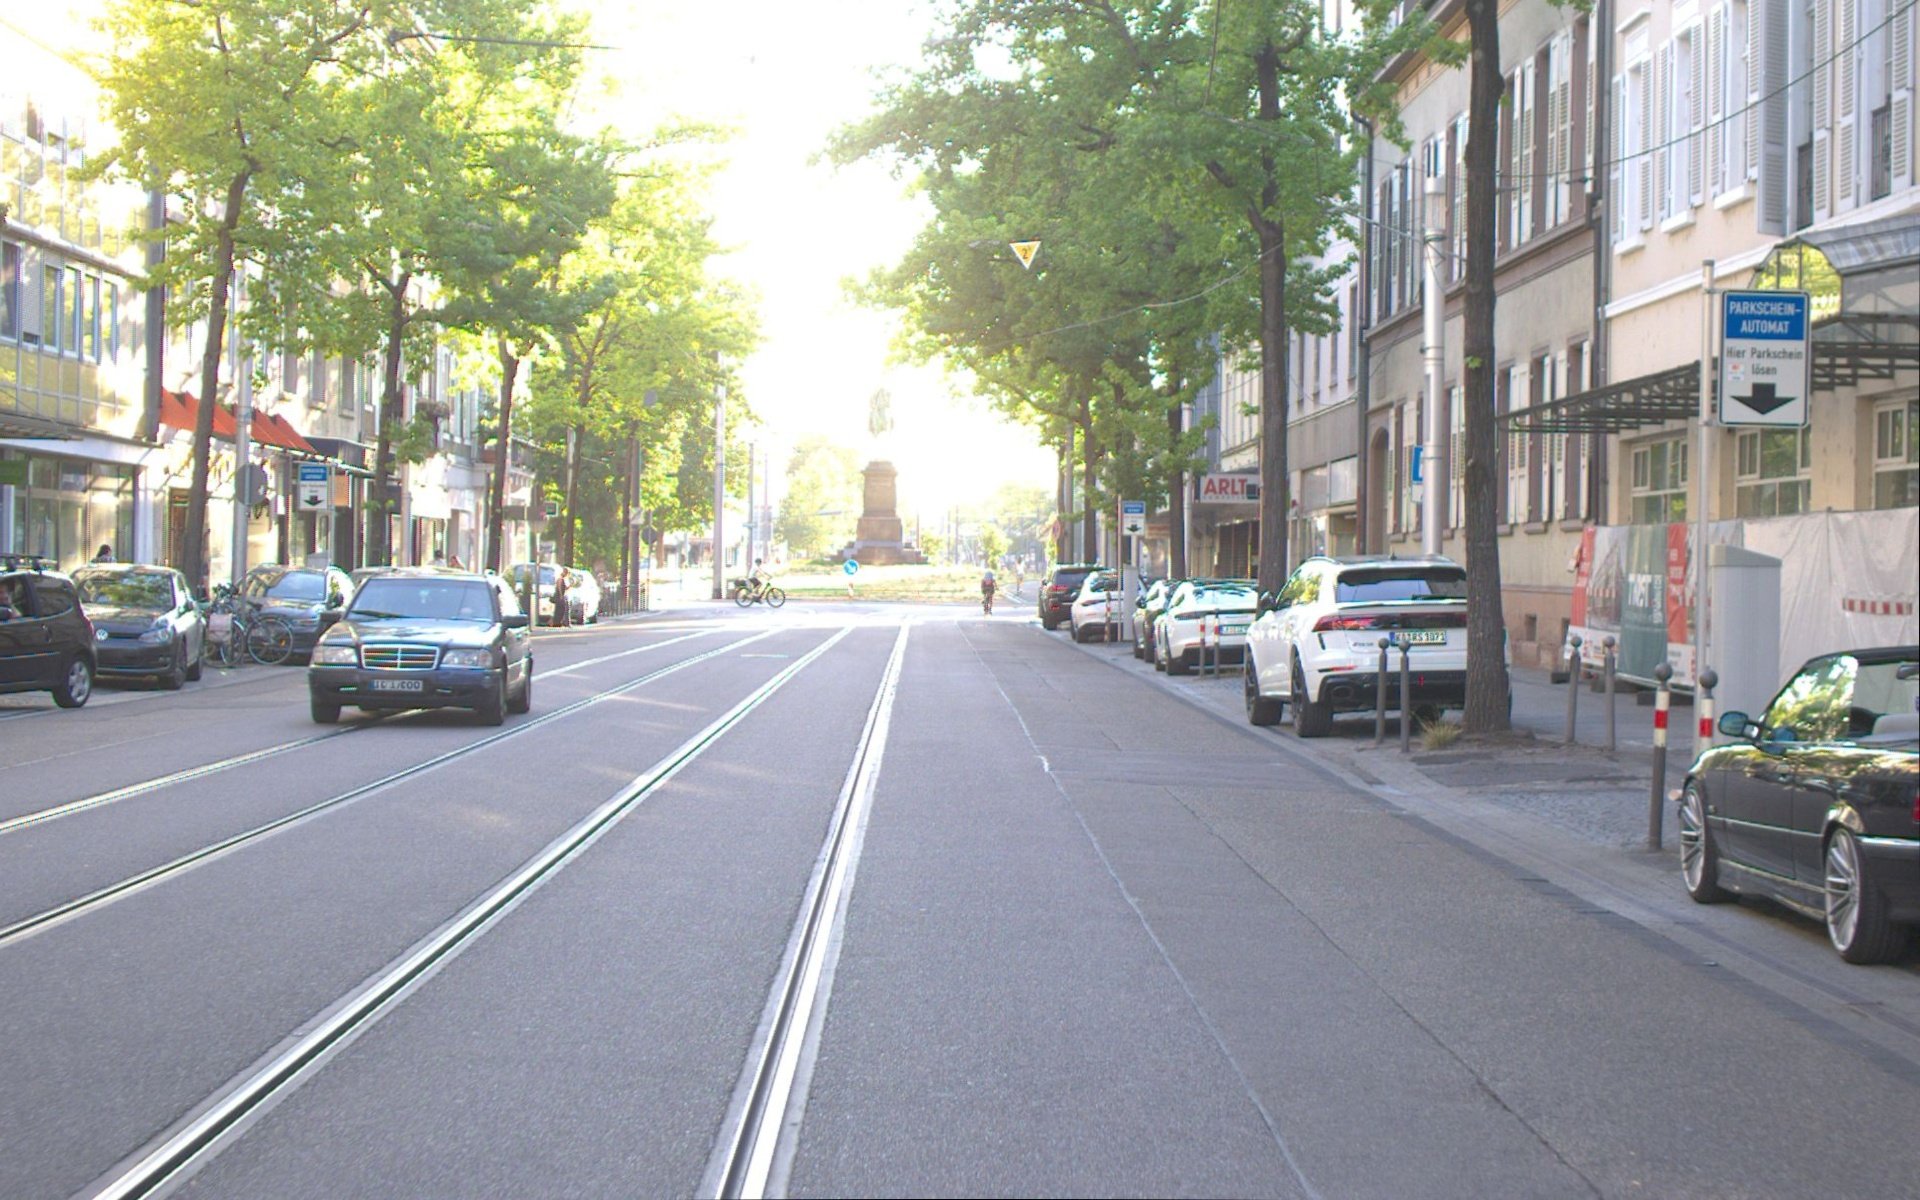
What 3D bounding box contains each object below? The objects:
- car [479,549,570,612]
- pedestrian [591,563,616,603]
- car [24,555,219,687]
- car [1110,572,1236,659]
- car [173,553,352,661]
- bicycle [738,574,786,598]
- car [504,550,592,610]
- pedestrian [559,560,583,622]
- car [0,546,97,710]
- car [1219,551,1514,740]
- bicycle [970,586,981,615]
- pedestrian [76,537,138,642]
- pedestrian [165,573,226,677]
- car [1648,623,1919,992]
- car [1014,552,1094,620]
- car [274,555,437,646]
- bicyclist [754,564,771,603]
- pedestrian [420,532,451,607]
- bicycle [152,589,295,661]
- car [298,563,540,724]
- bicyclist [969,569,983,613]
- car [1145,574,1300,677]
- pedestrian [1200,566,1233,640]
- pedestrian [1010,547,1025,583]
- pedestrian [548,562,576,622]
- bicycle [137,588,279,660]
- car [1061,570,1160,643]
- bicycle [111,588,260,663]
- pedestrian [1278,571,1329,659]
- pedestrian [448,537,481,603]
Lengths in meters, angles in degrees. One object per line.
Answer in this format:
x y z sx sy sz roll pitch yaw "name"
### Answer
-11.316 -0.514 89.490 1.836 1.575 4.116 1 1 0 "car"
-11.672 -0.572 112.633 0.728 1.286 0.857 2 1 -3 "pedestrian"
-10.358 0.232 42.726 1.791 1.485 4.243 2 0 -7 "car"
3.824 0.247 62.377 1.833 1.473 4.762 -1 1 -1 "car"
-10.270 0.084 50.920 1.711 1.456 4.486 2 0 0 "car"
-7.329 -0.507 127.071 1.732 0.861 0.367 1 0 8 "bicycle"
-11.294 -0.570 94.524 1.836 1.575 4.702 1 1 0 "car"
-9.878 -0.235 87.347 0.521 1.564 0.634 0 -1 0 "pedestrian"
-10.319 0.256 34.405 1.631 1.610 3.706 3 1 14 "car"
3.910 0.411 33.951 1.997 1.682 4.968 -1 0 -4 "car"
0.536 0.013 116.578 0.264 0.979 1.338 1 0 4 "bicycle"
-13.892 -0.172 56.031 0.789 1.687 0.914 1 0 -1 "pedestrian"
-12.537 0.400 56.381 0.843 1.687 0.740 1 0 -1 "pedestrian"
4.398 0.795 15.187 1.794 1.307 4.330 -1 0 0 "car"
2.595 -0.399 95.874 1.938 1.753 4.680 -3 1 -1 "car"
-10.387 0.005 59.333 1.767 1.492 4.174 1 0 4 "car"
-7.305 -0.603 127.096 0.536 1.433 0.367 1 0 8 "bicyclist"
-14.128 -0.812 92.602 0.722 2.007 0.643 1 0 0 "pedestrian"
-10.533 0.353 49.186 1.971 0.998 0.330 1 0 2 "bicycle"
-5.065 0.365 32.691 1.779 1.402 4.528 1 1 -3 "car"
0.536 -0.296 116.505 0.428 1.476 0.466 1 1 4 "bicyclist"
3.927 0.352 52.129 1.912 1.416 4.888 -2 1 0 "car"
5.927 0.067 79.427 0.643 1.664 0.786 -2 1 -1 "pedestrian"
2.616 -1.594 157.008 0.636 1.600 0.772 1 1 -3 "pedestrian"
-10.026 -0.205 86.577 0.620 1.504 0.729 0 -1 0 "pedestrian"
-10.838 0.344 49.572 1.971 0.998 0.330 1 0 2 "bicycle"
3.389 0.122 77.989 1.993 1.493 4.680 -2 1 0 "car"
-10.694 0.350 47.492 1.971 0.998 0.330 1 0 2 "bicycle"
6.984 0.302 69.901 0.858 1.747 0.933 -2 1 -1 "pedestrian"
-13.347 -0.803 92.599 0.722 1.754 1.090 1 0 0 "pedestrian"
